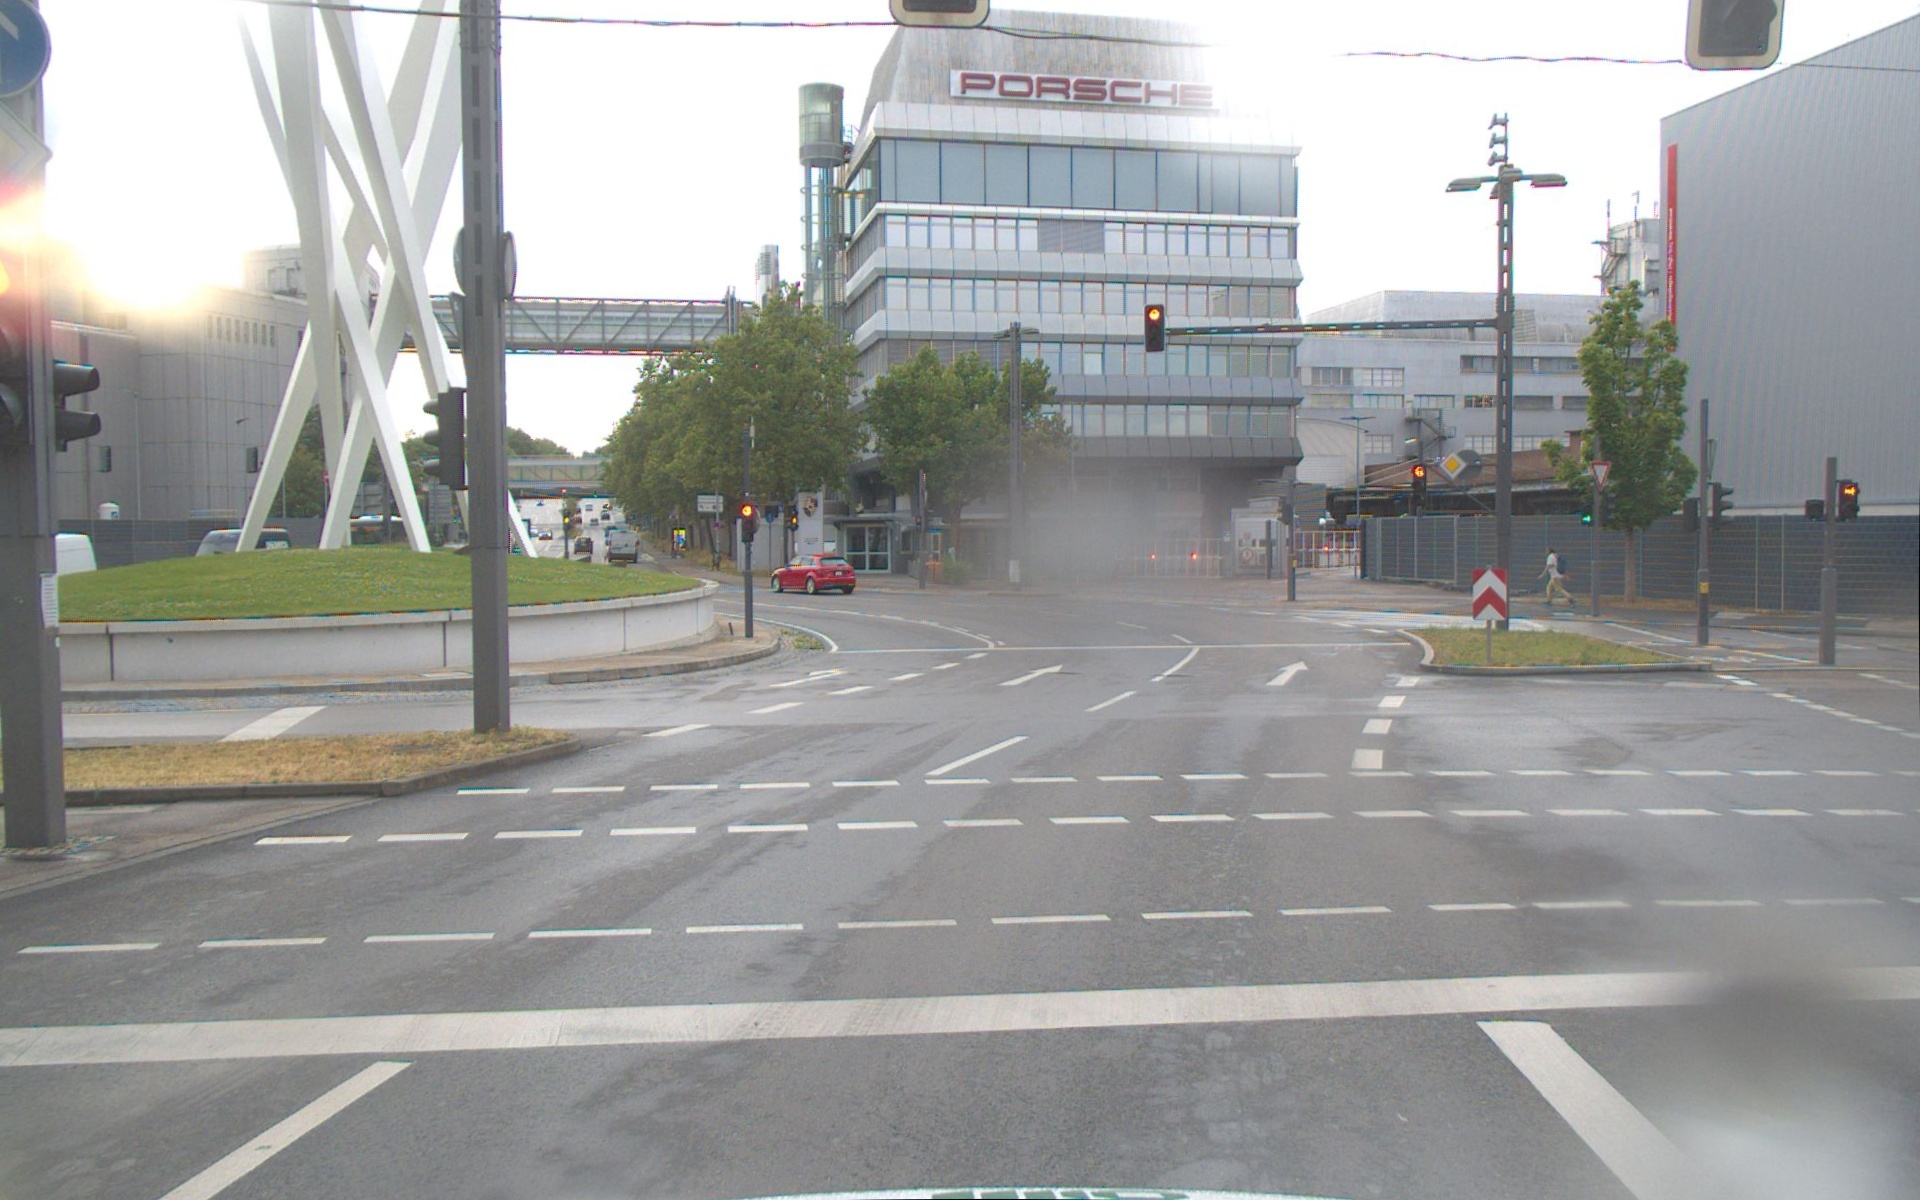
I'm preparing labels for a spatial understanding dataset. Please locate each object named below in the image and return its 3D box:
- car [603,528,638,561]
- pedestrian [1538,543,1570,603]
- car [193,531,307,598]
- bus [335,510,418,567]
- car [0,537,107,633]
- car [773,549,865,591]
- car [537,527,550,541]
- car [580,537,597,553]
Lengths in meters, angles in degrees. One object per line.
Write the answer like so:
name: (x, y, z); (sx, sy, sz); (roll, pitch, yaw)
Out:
car: (-24.215, -3.952, 117.777); (2.195, 2.144, 4.935); (0, 0, -14)
pedestrian: (16.395, -0.743, 45.681); (0.791, 1.639, 0.770); (-1, -1, 17)
car: (-31.707, -1.563, 74.169); (1.926, 2.869, 7.129); (0, 1, 1)
bus: (-36.244, -3.732, 103.244); (2.620, 3.256, 12.643); (0, 1, -9)
car: (-26.037, -0.421, 45.724); (1.952, 2.490, 5.427); (-1, 1, 1)
car: (-5.266, -1.089, 61.489); (1.759, 1.490, 3.685); (0, 0, -36)
car: (-56.310, -8.921, 223.546); (1.600, 1.848, 3.720); (0, 1, -14)
car: (-33.531, -4.943, 149.249); (1.530, 1.311, 3.402); (0, 0, -13)
